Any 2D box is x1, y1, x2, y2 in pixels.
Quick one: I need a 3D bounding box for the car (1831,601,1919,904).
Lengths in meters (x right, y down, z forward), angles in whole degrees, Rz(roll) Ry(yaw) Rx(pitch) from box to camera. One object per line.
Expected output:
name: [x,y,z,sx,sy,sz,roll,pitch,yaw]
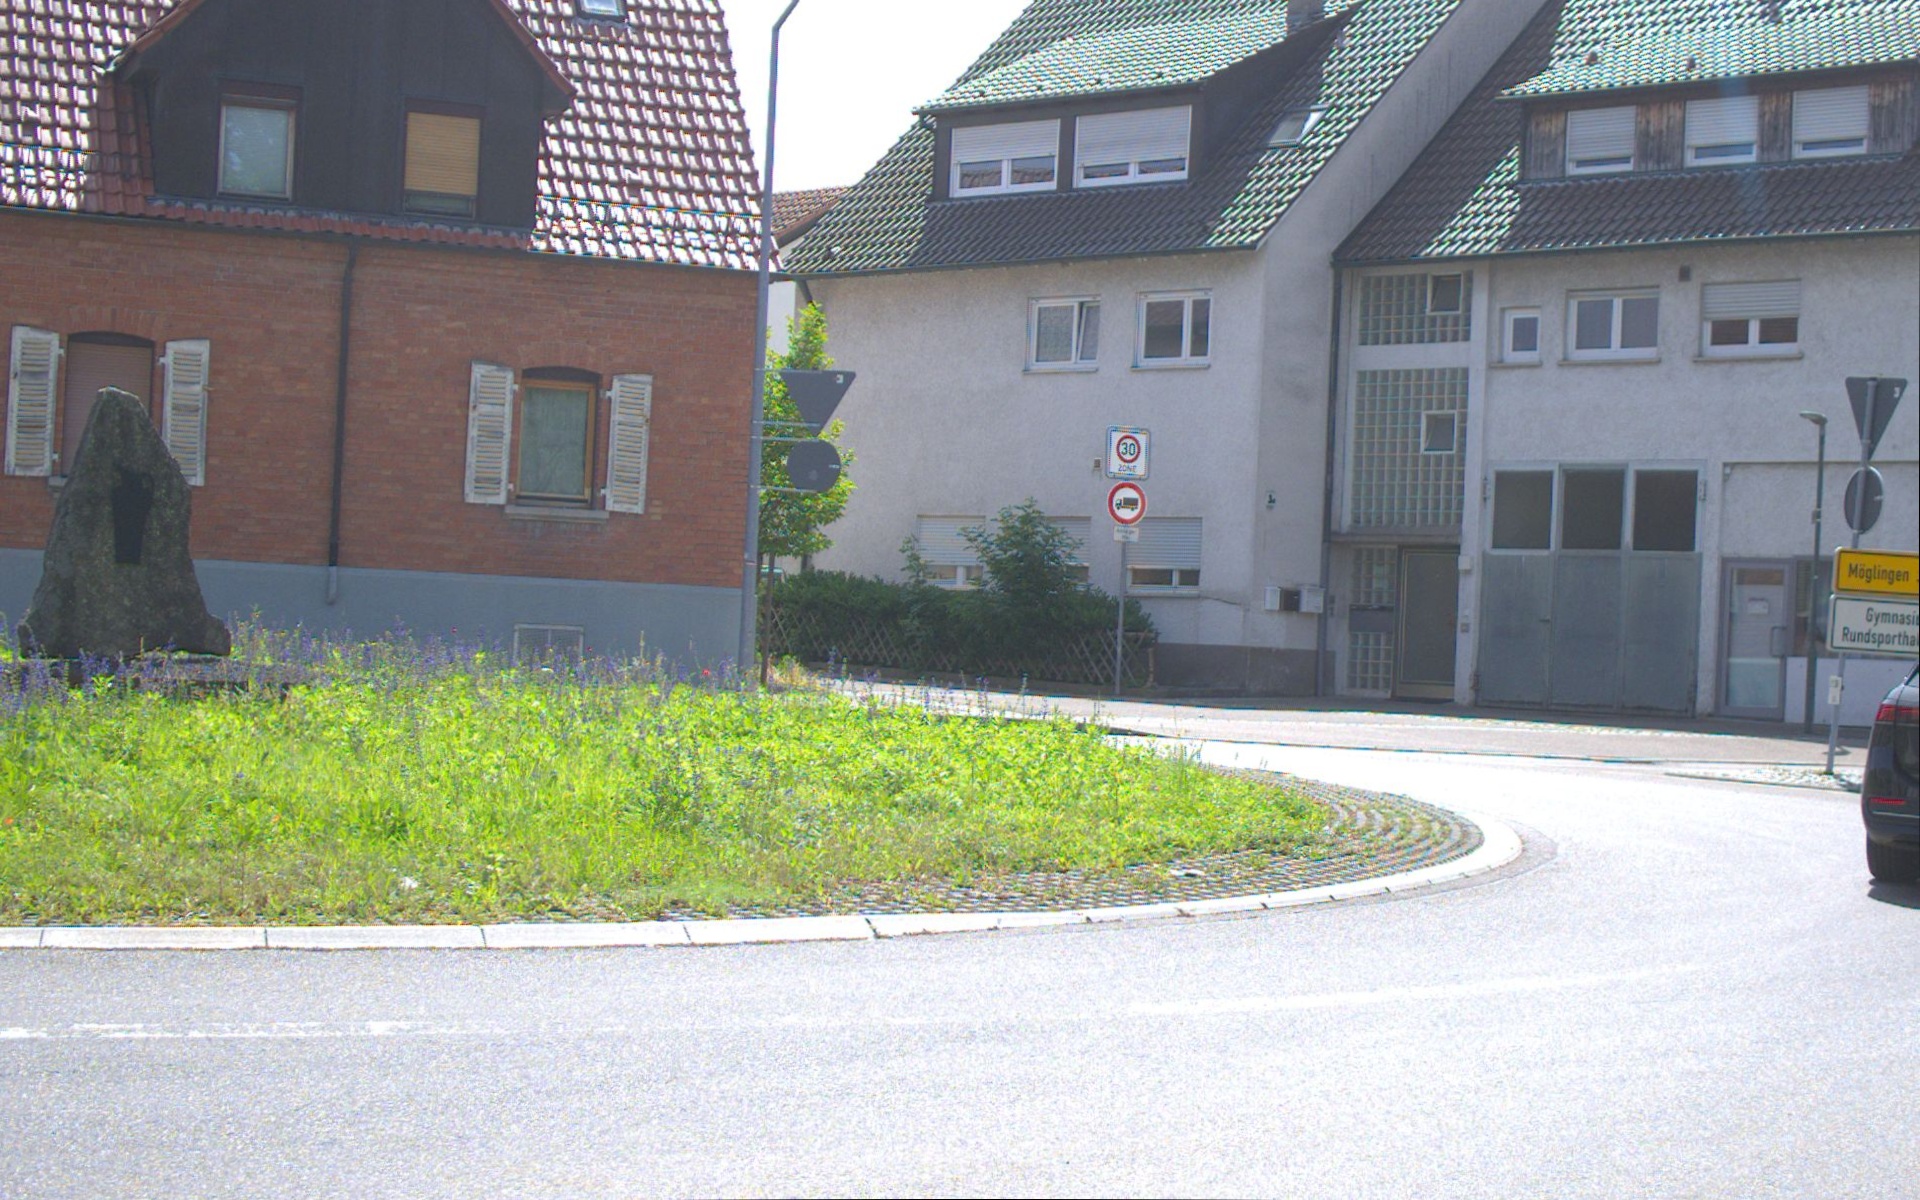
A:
car: [6.040,0.773,18.083,1.844,1.415,4.675,3,1,26]
